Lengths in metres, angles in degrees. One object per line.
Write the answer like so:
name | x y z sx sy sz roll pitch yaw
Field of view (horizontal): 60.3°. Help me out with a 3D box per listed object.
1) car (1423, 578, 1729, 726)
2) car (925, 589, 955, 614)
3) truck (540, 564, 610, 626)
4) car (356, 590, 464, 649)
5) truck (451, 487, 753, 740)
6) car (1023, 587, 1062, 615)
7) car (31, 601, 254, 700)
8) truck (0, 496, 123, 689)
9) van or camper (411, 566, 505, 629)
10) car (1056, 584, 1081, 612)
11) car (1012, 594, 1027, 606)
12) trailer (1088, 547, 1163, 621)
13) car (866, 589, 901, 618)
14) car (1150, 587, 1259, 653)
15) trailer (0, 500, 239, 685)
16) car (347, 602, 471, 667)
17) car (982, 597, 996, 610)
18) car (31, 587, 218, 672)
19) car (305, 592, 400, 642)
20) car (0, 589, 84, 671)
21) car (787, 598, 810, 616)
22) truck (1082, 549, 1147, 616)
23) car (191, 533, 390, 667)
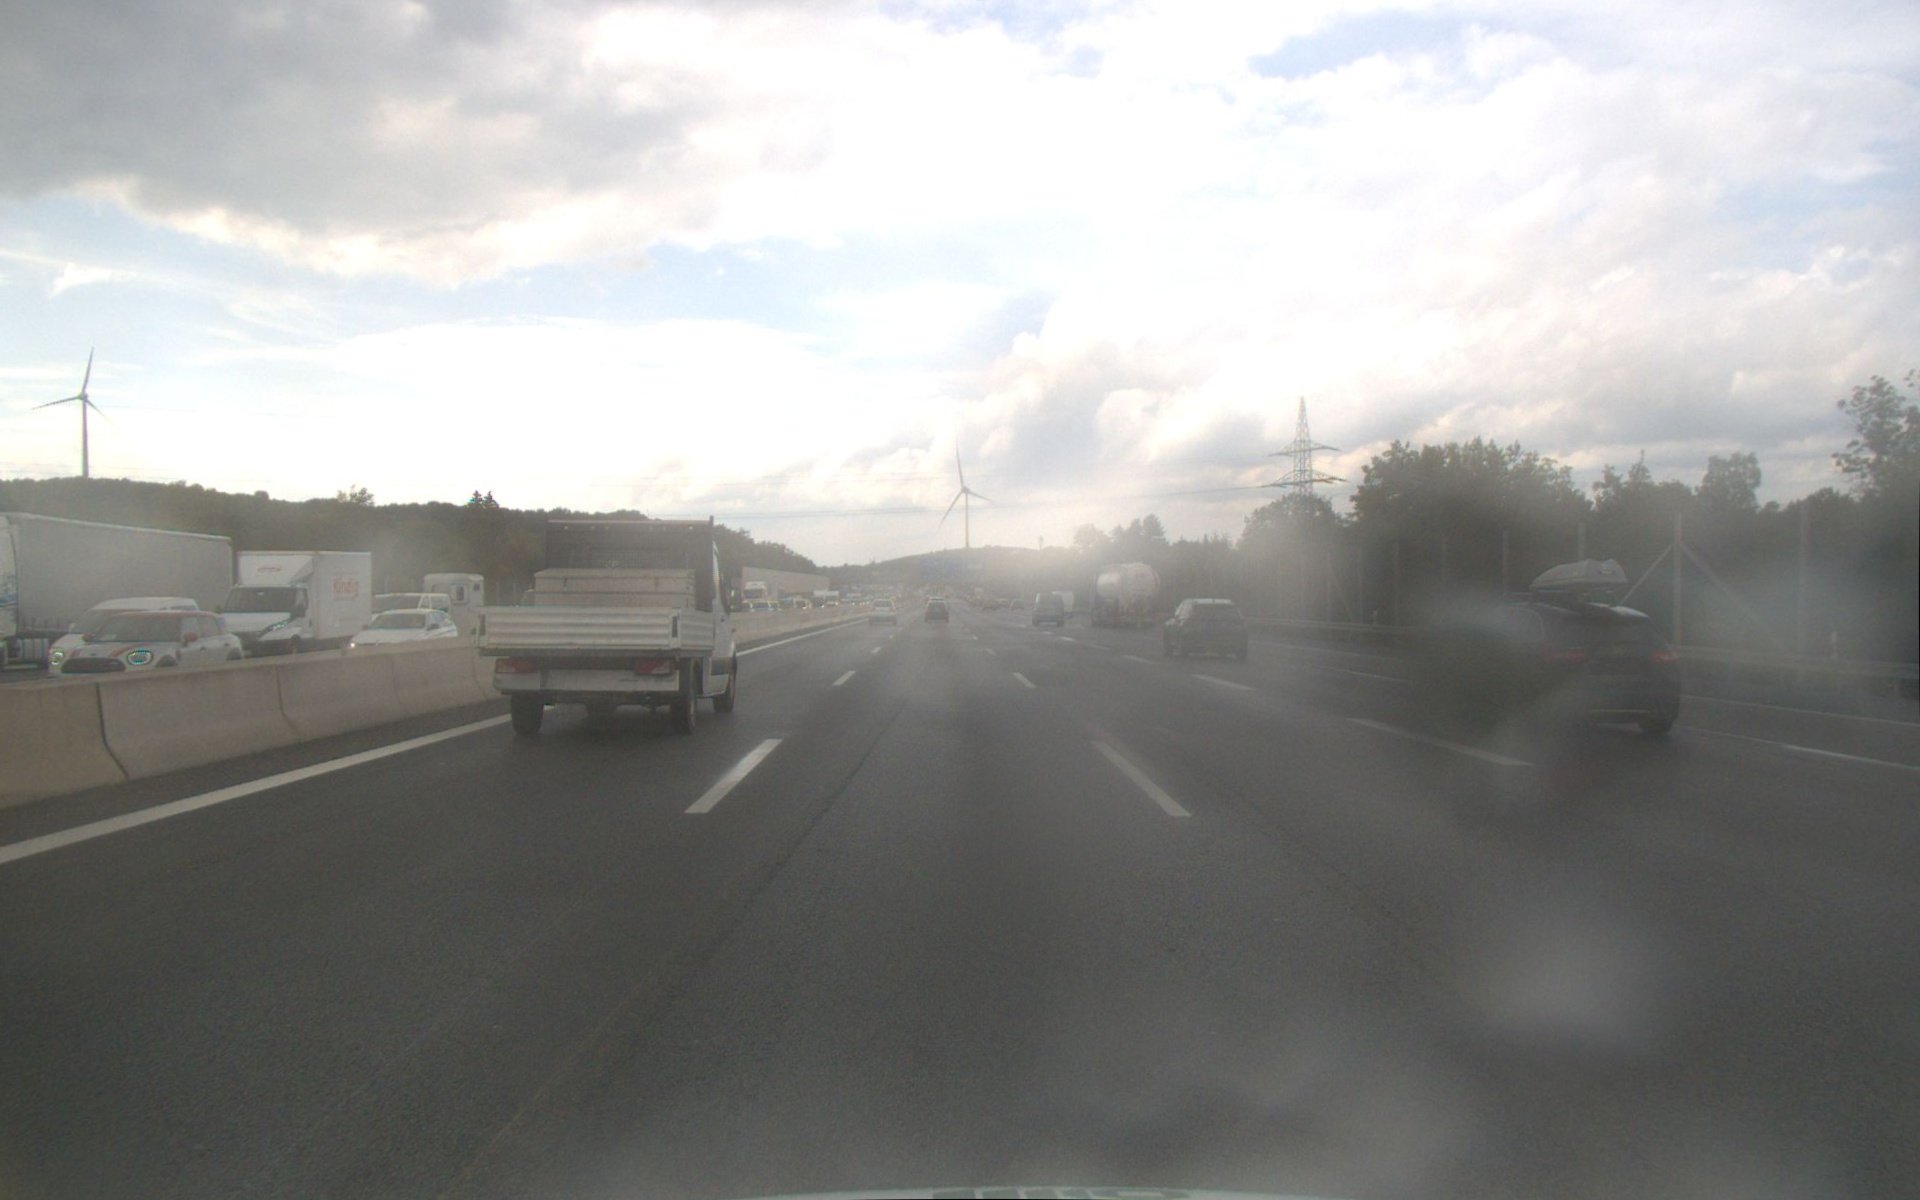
car | 7.610 0.594 21.060 2.061 1.634 5.066 0 0 1
car | -1.432 0.098 117.309 2.004 1.729 3.999 0 1 -2
truck | -22.965 -0.315 98.893 2.673 3.575 6.799 1 0 -1
car | -18.585 0.613 56.143 1.820 1.856 5.663 1 0 -1
truck | -3.987 0.094 19.985 2.306 2.450 7.354 1 1 -3
car | 5.238 0.025 105.412 2.056 1.729 3.997 0 1 -4
car | -14.045 0.806 28.706 1.722 1.524 4.393 1 0 -1
truck | -26.219 -0.236 44.923 3.084 4.941 8.024 1 0 -2
van or camper | -18.835 -0.110 62.254 2.052 2.224 4.970 1 0 -1
car | 10.110 -0.233 154.527 2.003 2.541 3.999 0 1 -1
car | 8.993 -0.032 249.410 1.953 1.780 4.496 1 0 -1
trailer | 10.068 -0.993 101.865 3.265 4.248 11.836 1 0 -1
car | -4.676 0.214 101.950 2.003 1.729 3.999 0 1 -1
car | 6.789 0.554 46.450 2.005 1.729 5.002 0 0 -4
trailer | -26.483 -0.272 50.985 3.084 4.941 13.290 1 0 -2
car | -14.085 0.845 42.566 1.609 1.519 4.933 1 0 -1
car | 4.154 0.498 237.356 2.003 1.729 4.000 0 1 0
car | -18.078 0.586 36.051 1.677 1.696 4.795 1 0 -1
car | -22.097 0.610 60.311 1.953 1.738 4.000 1 0 0
car | -21.030 0.620 35.488 1.677 1.696 5.316 1 0 -1
car | -15.498 0.659 158.956 1.856 1.652 4.844 1 0 -1
truck | 9.994 -1.124 107.816 3.265 4.151 8.270 1 0 -1
car | -18.247 -0.041 45.656 2.447 3.358 7.625 1 0 -1
